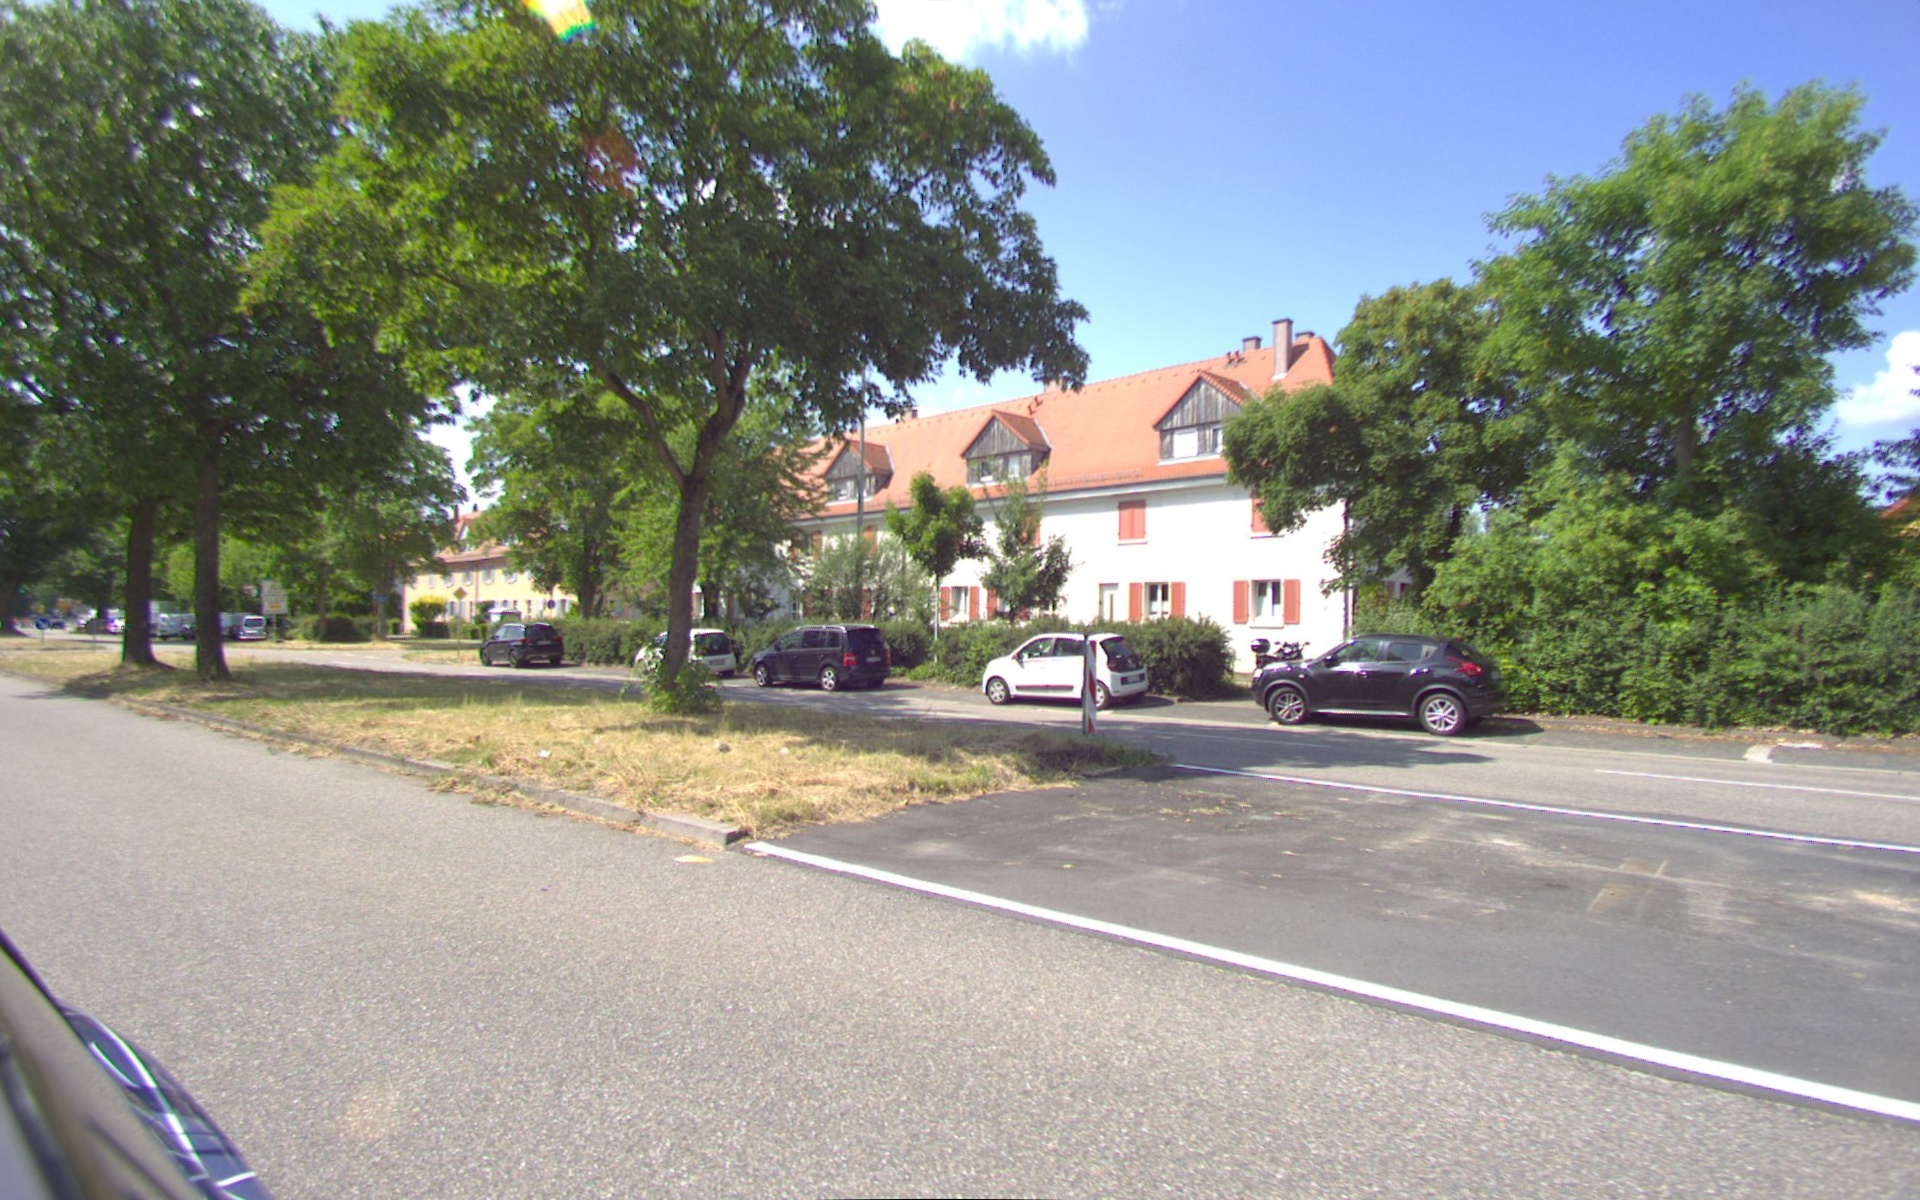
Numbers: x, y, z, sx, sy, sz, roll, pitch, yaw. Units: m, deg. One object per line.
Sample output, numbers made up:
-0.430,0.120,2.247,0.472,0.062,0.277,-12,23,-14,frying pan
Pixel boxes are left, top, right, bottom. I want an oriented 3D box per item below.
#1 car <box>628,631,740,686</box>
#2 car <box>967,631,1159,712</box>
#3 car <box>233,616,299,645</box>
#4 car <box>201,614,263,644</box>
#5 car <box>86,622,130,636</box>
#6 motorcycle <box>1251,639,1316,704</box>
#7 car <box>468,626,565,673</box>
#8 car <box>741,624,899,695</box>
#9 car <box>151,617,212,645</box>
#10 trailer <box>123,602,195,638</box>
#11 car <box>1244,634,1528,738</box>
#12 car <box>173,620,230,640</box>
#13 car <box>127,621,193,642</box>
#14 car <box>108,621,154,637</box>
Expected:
-8.438,1.724,30.792,3.532,1.472,1.577,0,0,40,car
2.142,1.455,21.630,3.844,1.462,1.643,0,0,40,car
-46.599,2.008,68.024,1.779,1.874,4.001,-1,-1,-2,car
-53.637,2.111,74.637,1.779,2.029,4.002,-1,0,-2,car
-87.543,2.957,104.027,1.646,1.358,3.827,-1,0,-8,car
7.267,1.573,22.686,0.747,1.306,1.845,0,0,40,motorcycle
-16.554,1.785,37.711,3.997,1.563,1.749,0,0,40,car
-3.729,1.491,26.446,4.311,1.624,1.643,0,0,40,car
-60.945,2.403,79.302,1.779,2.029,4.002,-1,0,-2,car
-72.609,1.789,91.917,2.782,3.132,5.766,-1,0,-11,trailer
7.071,1.349,17.032,4.100,1.492,1.643,-2,0,40,car
-58.507,2.309,78.151,1.550,1.408,4.002,-1,0,-2,car
-65.024,2.529,82.282,1.799,1.521,3.945,0,1,41,car
-80.985,2.828,98.922,1.646,1.475,3.827,-1,0,-8,car
